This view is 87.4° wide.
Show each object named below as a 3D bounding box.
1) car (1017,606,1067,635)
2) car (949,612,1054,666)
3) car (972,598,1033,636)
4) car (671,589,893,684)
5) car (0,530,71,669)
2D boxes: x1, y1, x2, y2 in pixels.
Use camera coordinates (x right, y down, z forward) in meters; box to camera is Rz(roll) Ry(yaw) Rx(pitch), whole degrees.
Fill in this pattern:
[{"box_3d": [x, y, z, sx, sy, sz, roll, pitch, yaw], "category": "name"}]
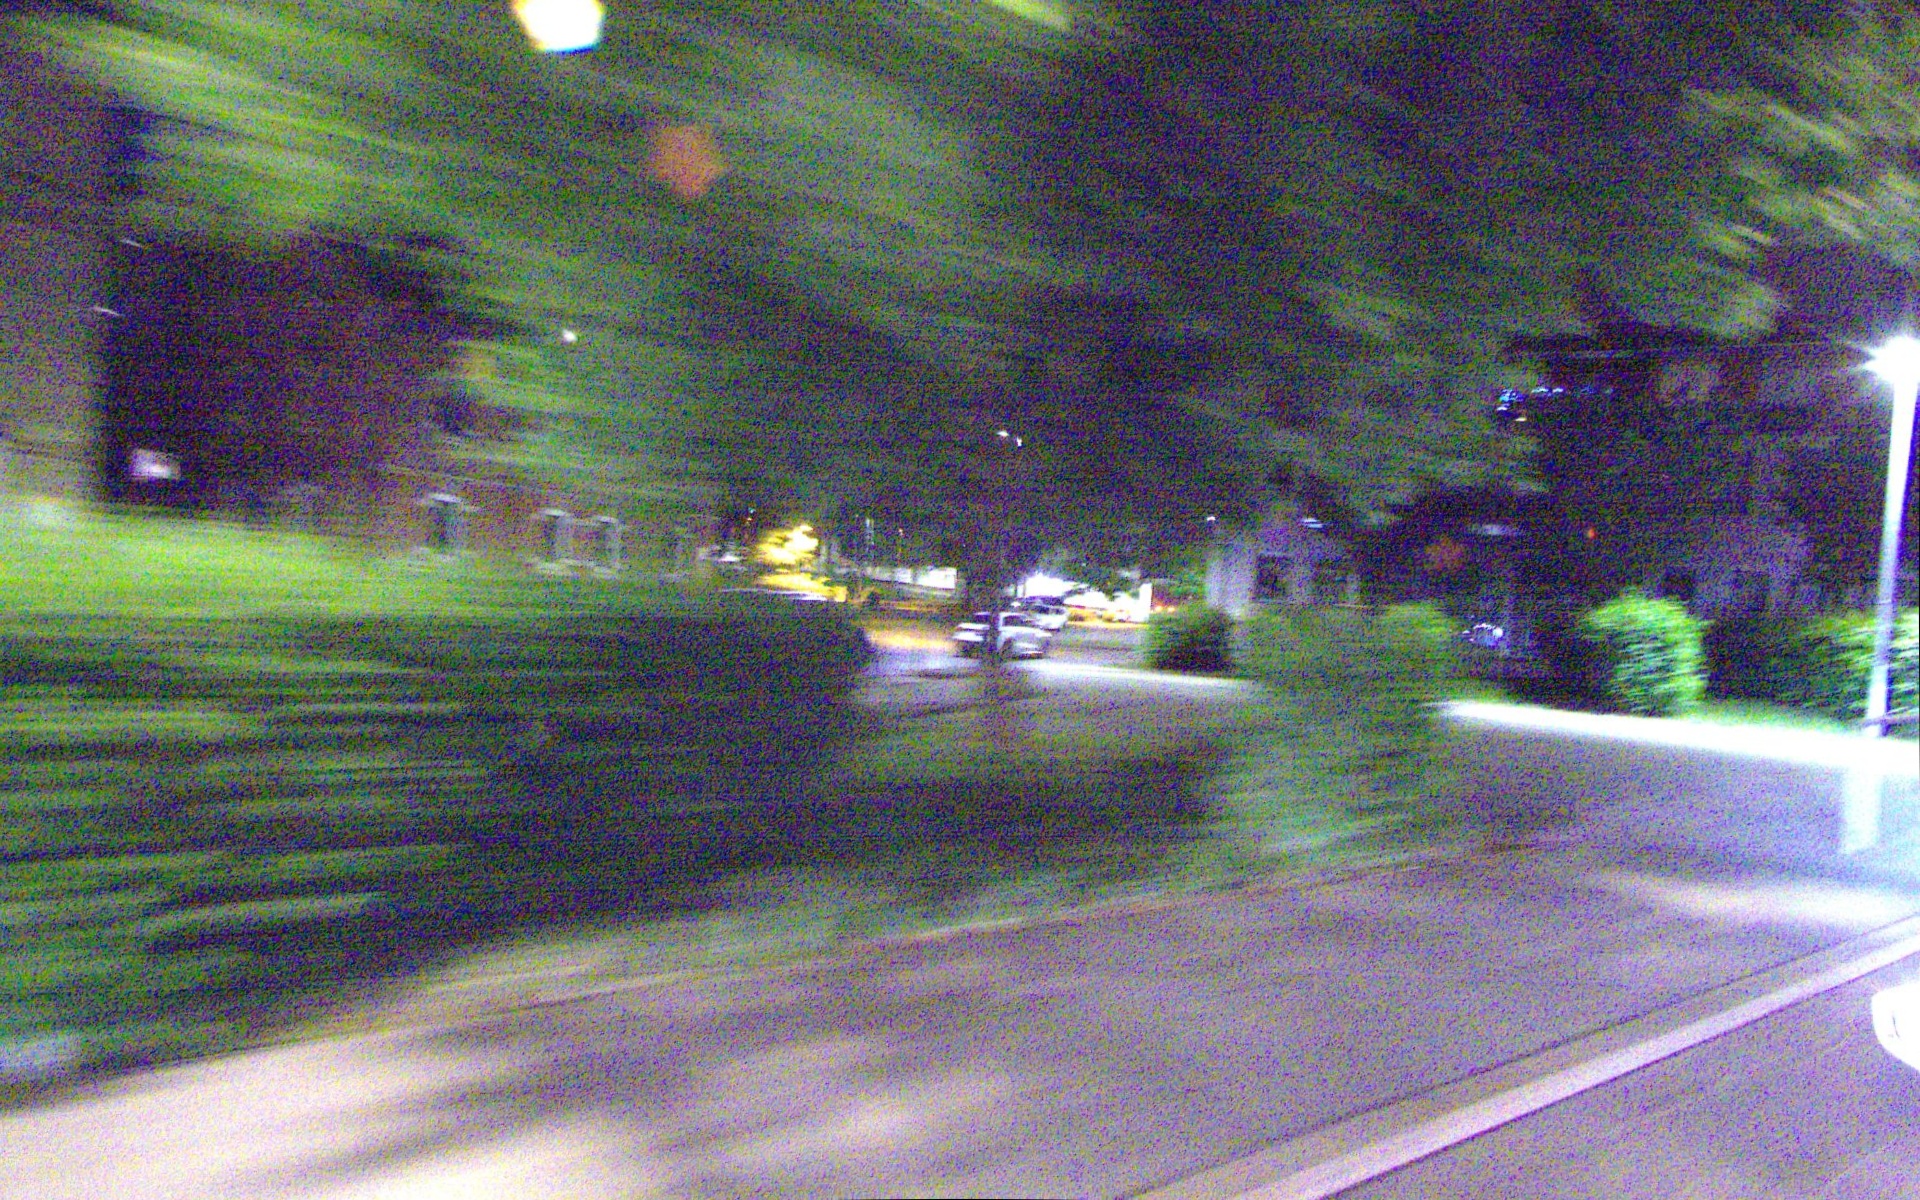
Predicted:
[{"box_3d": [4.754, 1.196, 57.672, 1.582, 1.536, 3.805, 3, -1, 25], "category": "car"}, {"box_3d": [1.364, 1.179, 31.058, 1.731, 1.464, 4.022, 3, 0, 26], "category": "car"}, {"box_3d": [2.244, 0.912, 52.149, 1.612, 1.783, 3.960, 3, -1, 26], "category": "car"}, {"box_3d": [-3.538, 0.739, 21.045, 2.009, 1.717, 4.876, 1, -1, 27], "category": "car"}, {"box_3d": [-15.245, -0.097, 13.280, 1.963, 1.981, 4.800, 3, 0, 27], "category": "car"}]
